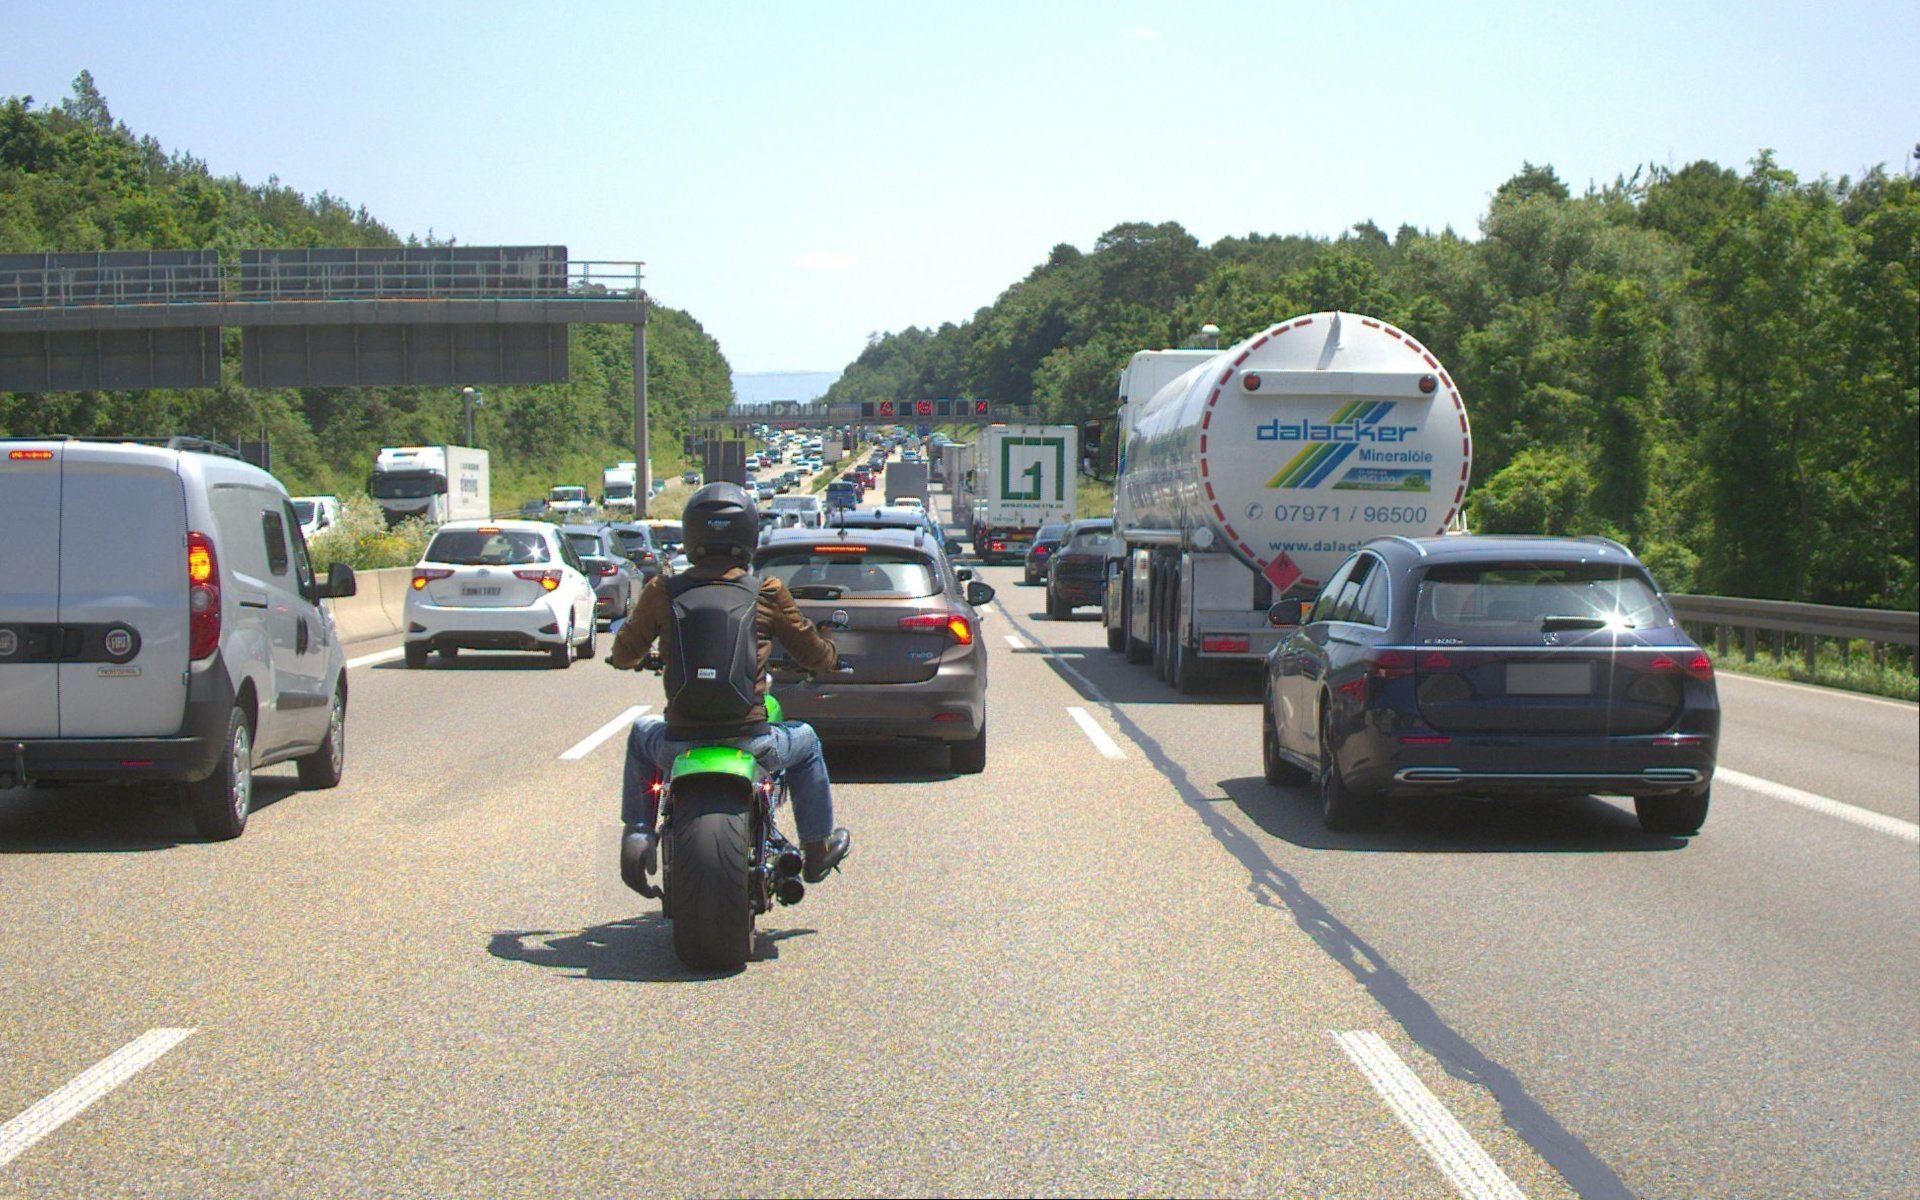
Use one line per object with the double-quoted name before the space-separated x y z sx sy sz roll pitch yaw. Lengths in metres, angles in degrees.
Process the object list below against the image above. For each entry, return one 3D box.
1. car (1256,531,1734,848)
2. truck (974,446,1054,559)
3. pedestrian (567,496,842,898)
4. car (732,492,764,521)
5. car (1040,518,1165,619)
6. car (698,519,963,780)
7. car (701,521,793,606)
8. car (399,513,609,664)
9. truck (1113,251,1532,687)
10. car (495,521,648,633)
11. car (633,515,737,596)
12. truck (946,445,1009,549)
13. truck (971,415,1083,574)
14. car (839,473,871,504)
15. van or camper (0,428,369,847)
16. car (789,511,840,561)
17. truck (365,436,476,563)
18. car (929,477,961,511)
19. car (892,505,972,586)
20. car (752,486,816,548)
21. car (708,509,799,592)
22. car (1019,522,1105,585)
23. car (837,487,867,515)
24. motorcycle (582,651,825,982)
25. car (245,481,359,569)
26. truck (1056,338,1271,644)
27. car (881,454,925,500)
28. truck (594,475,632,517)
"car" 2.657 0.378 17.955 1.828 1.465 4.000 0 1 -1
"truck" 2.178 -4.013 142.492 3.033 4.527 9.983 0 1 -1
"pedestrian" -0.903 0.328 12.392 0.849 1.357 0.961 -3 1 1
"car" -14.695 -6.455 238.001 1.993 2.007 4.000 -1 1 -1
"car" 2.263 -0.539 55.398 1.787 1.550 3.804 -1 1 -1
"car" -0.796 0.254 21.850 1.532 1.504 4.000 0 1 -1
"car" -5.375 -0.922 87.249 1.993 2.007 4.000 -3 0 0
"car" -4.725 -0.163 36.060 1.699 1.473 4.000 -1 1 -1
"truck" 3.287 -1.139 33.828 2.988 3.659 9.288 -1 0 -1
"car" -5.335 -0.350 47.624 1.699 1.473 4.000 -1 1 -1
"car" -5.224 -0.869 65.786 1.699 1.473 4.000 -1 1 -1
"truck" 0.853 -5.197 175.301 3.033 5.122 9.983 0 1 -1
"truck" 1.922 -3.145 103.523 3.033 4.527 9.983 0 1 -1
"car" -6.816 -7.238 223.541 1.993 2.007 4.000 -1 1 -1
"van or camper" -4.251 0.158 17.593 1.796 1.886 4.160 0 0 -1
"car" -6.284 -2.764 148.646 1.993 2.007 4.000 -3 0 0
"truck" -20.940 -3.892 133.990 2.765 4.724 10.472 -1 1 -1
"car" -0.964 -6.847 222.305 1.993 2.007 4.000 -3 0 0
"car" -0.747 -1.431 91.275 1.993 2.007 4.000 -3 0 0
"car" -6.076 -2.854 118.961 1.929 2.007 4.000 -3 0 0
"car" -4.711 -1.156 78.933 1.880 1.853 4.000 0 1 0
"car" 2.301 -1.074 78.137 1.787 1.370 3.804 -1 1 -1
"car" -7.756 -7.127 247.084 1.993 2.007 4.000 0 1 0
"motorcycle" -0.879 0.725 12.293 0.691 1.012 2.121 0 1 1
"car" -16.257 -1.831 85.168 1.880 2.007 4.468 -3 0 0
"truck" 2.464 -1.290 42.764 1.993 3.510 4.752 -3 0 -3
"car" -3.317 -7.110 199.675 2.504 2.578 5.016 -1 1 -1
"truck" -22.353 -6.681 221.679 1.993 2.492 4.000 -3 0 -1
